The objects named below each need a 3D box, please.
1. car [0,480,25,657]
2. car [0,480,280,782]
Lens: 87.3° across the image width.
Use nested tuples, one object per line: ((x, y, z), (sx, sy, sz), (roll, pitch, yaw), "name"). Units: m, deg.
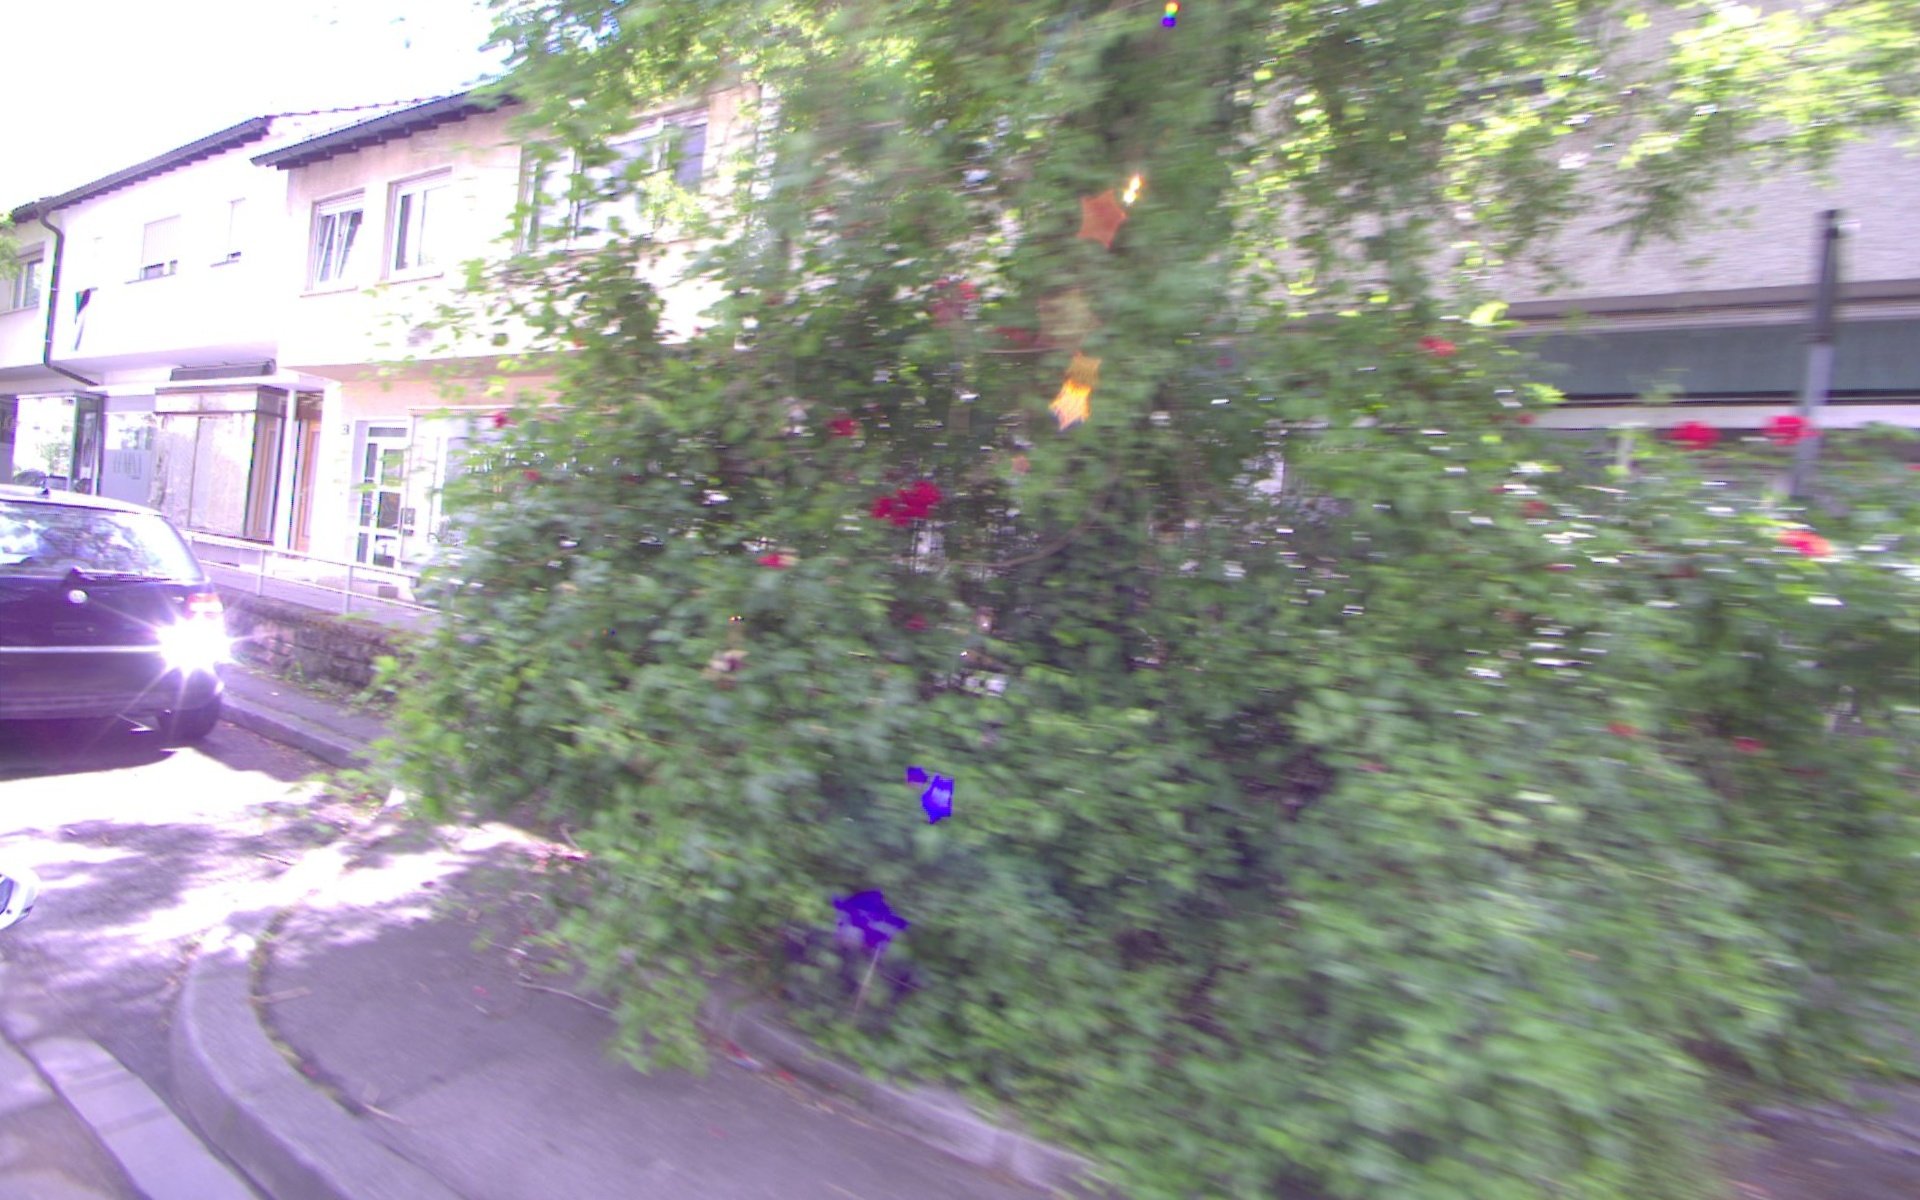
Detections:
((-10.697, -0.588, 9.413), (4.833, 1.517, 1.815), (8, 0, 35), "car")
((-6.206, -0.022, 6.323), (3.977, 1.481, 1.815), (8, 0, 35), "car")
